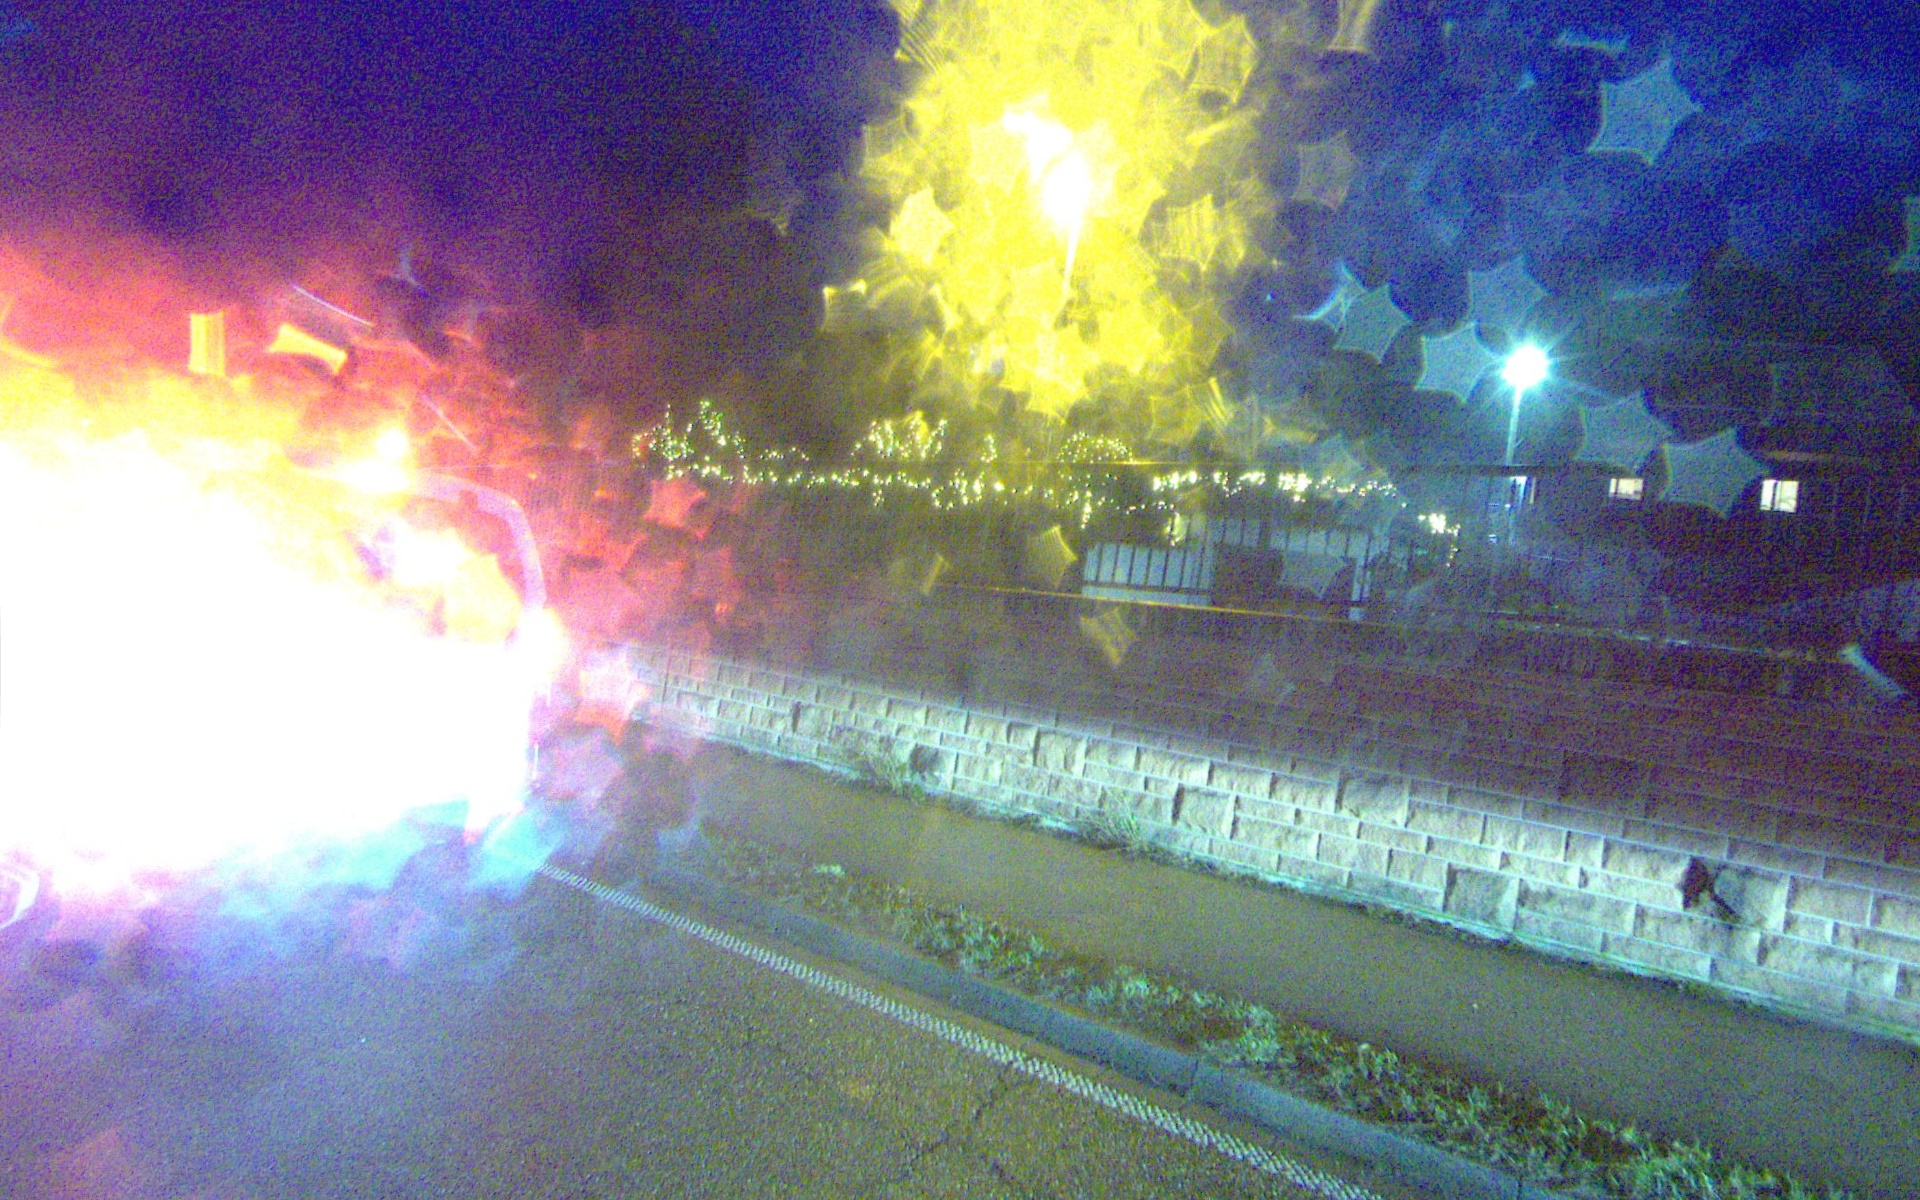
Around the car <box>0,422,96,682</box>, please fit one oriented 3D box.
[{"bbox_3d":[-9.653,-0.614,8.756,3.934,2.070,1.972,6,-2,32],"label":"car"}]

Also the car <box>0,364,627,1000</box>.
[{"bbox_3d":[-3.902,0.140,4.886,4.269,1.886,1.855,6,-2,32],"label":"car"}]

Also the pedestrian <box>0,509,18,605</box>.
[{"bbox_3d":[-17.629,-0.822,18.154,0.532,1.721,0.624,7,-1,29],"label":"pedestrian"}]
